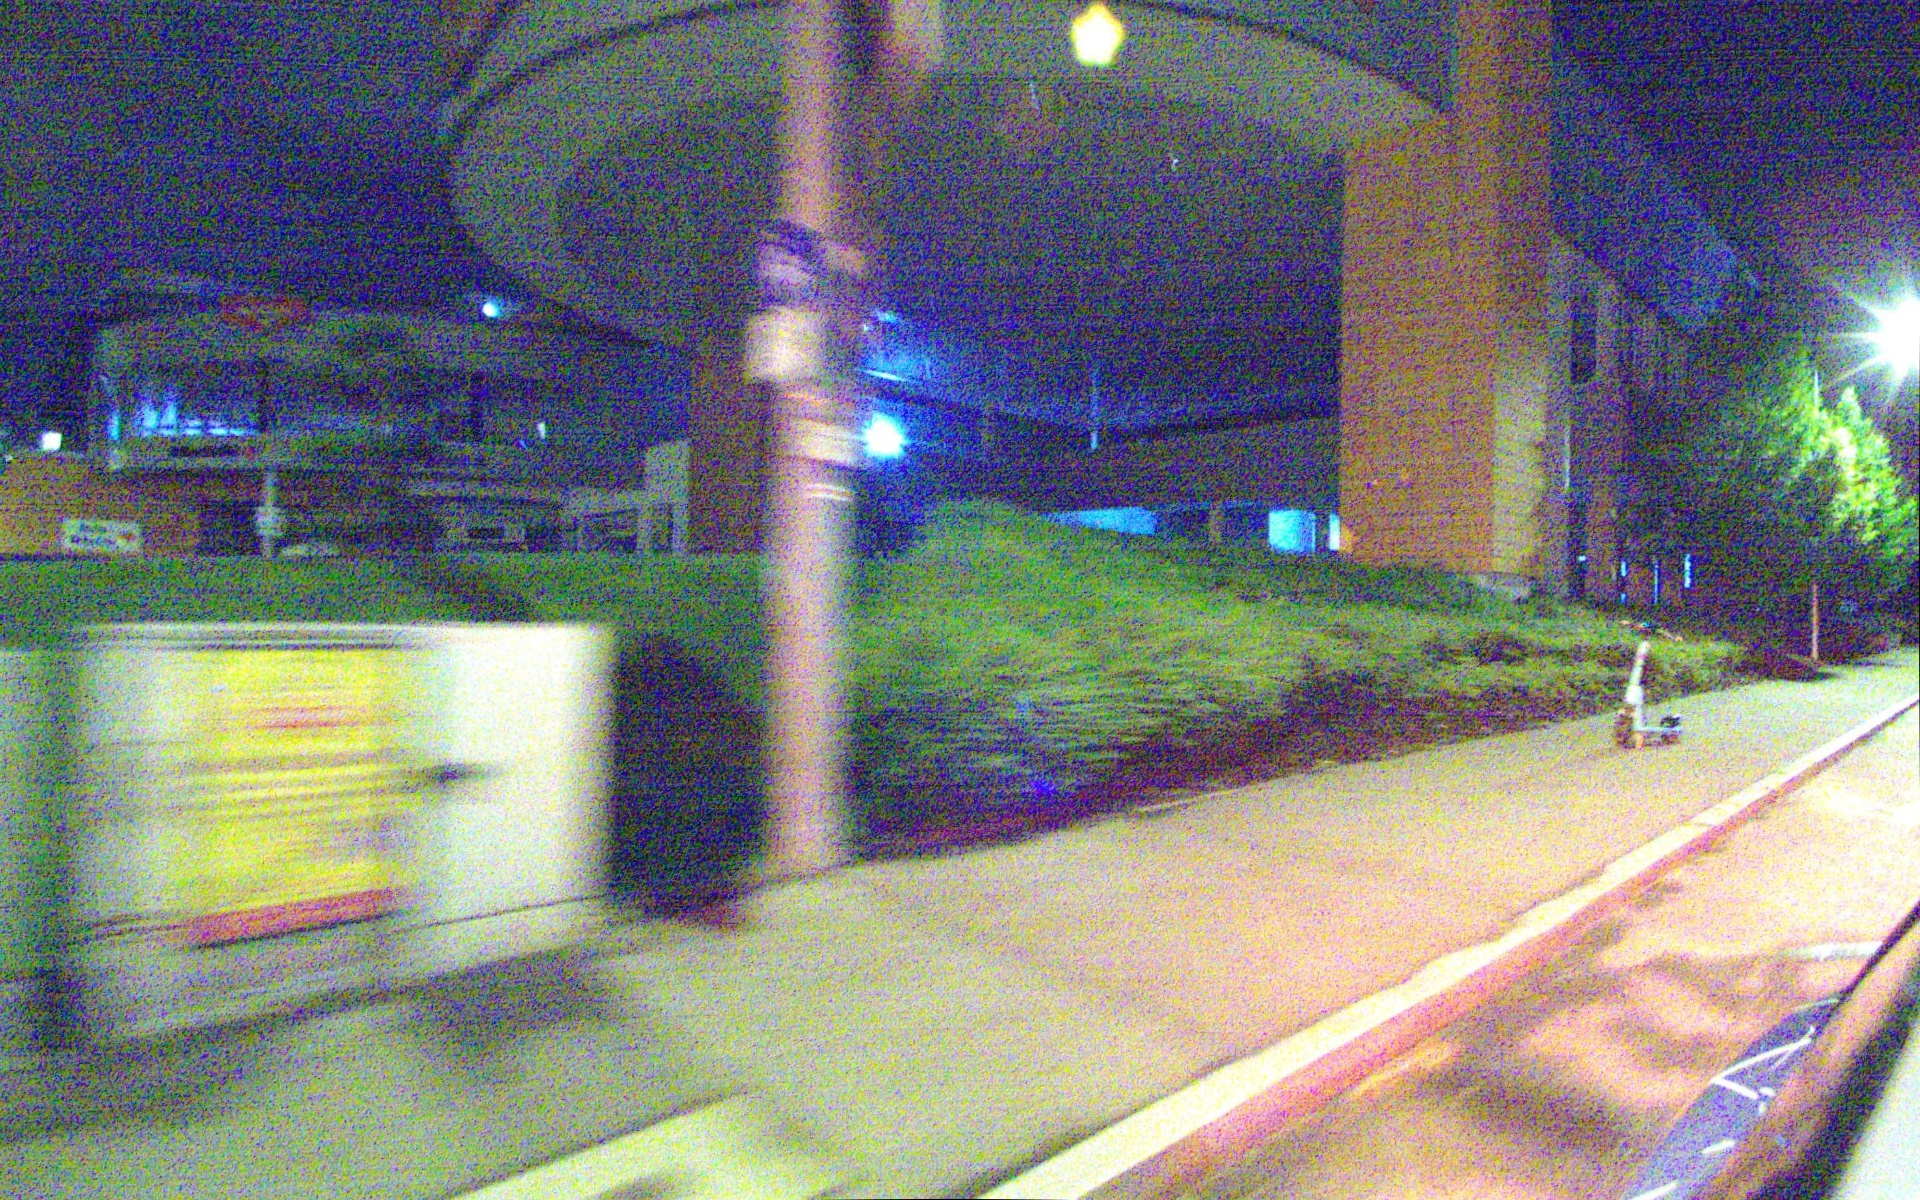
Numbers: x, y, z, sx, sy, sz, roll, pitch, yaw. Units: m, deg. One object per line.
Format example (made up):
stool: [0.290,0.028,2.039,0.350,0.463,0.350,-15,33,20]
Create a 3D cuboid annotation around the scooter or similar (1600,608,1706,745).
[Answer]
scooter or similar: [7.035,0.738,10.258,1.296,1.277,0.495,1,3,-40]
